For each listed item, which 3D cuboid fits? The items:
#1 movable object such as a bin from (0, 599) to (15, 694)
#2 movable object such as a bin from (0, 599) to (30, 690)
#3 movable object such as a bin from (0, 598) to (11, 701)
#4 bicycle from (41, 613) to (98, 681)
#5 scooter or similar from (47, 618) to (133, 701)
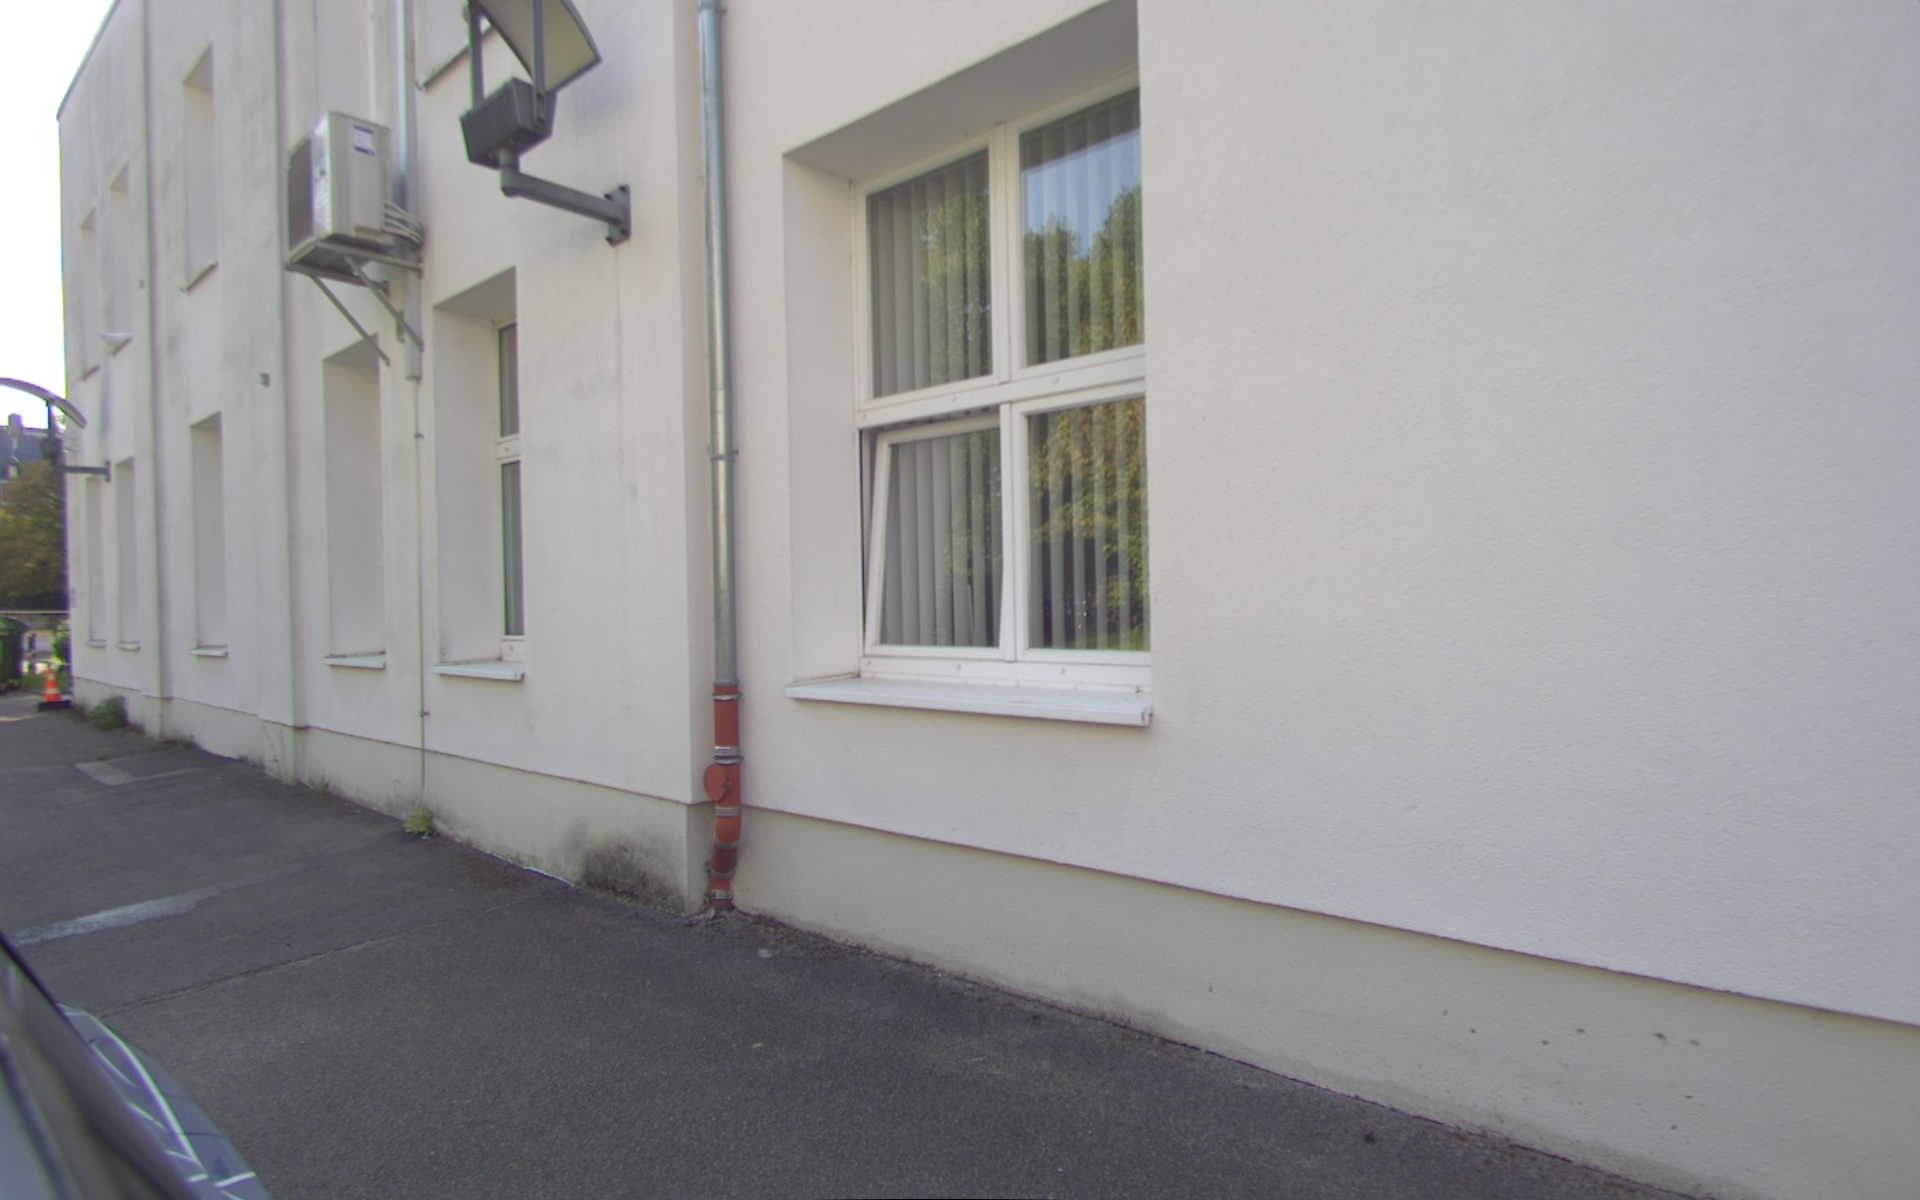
[{"bbox_3d":[-18.041,0.852,18.401,1.395,1.718,1.167,-1,1,45],"label":"movable object such as a bin"},{"bbox_3d":[-18.923,0.857,19.538,1.375,1.718,1.170,-1,1,37],"label":"movable object such as a bin"},{"bbox_3d":[-16.887,0.846,16.980,1.375,1.718,1.170,-1,1,37],"label":"movable object such as a bin"},{"bbox_3d":[-16.955,0.869,19.252,2.006,1.222,0.471,-1,1,40],"label":"bicycle"},{"bbox_3d":[-13.940,0.939,16.212,1.485,1.272,0.383,-1,1,21],"label":"scooter or similar"}]
